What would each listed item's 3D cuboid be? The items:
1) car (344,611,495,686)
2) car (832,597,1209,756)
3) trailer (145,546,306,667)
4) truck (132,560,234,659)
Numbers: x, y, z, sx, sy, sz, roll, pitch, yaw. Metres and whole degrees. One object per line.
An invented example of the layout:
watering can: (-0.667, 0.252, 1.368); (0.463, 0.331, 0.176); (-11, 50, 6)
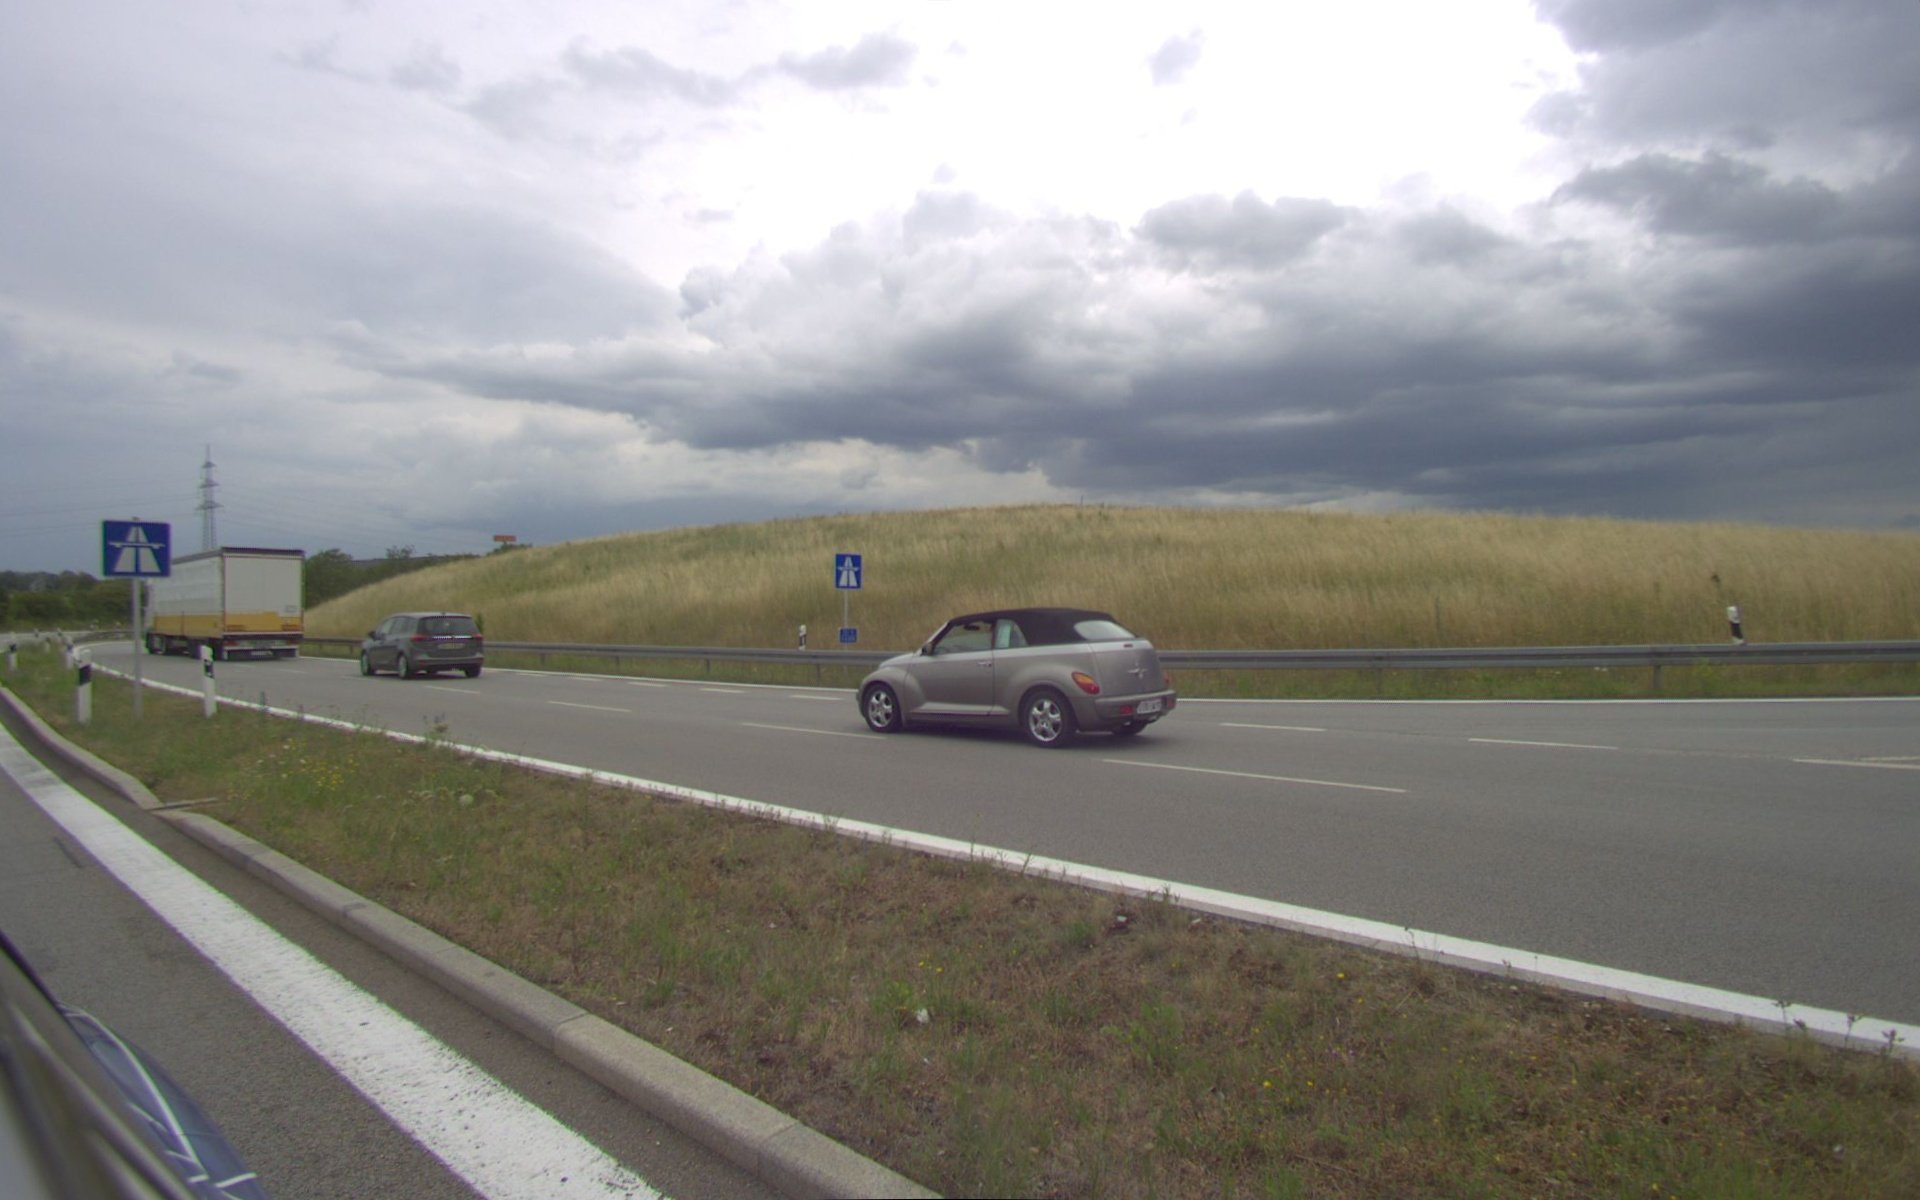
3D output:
car: (-13.878, 1.161, 25.883); (4.453, 1.707, 1.973); (0, 0, 41)
car: (0.585, 0.811, 12.037); (4.240, 1.532, 1.791); (-2, 0, 41)
trailer: (-30.221, 0.247, 41.239); (13.840, 4.242, 2.663); (0, 0, 43)
truck: (-35.298, 0.414, 45.908); (6.403, 4.172, 2.621); (0, 0, 43)
